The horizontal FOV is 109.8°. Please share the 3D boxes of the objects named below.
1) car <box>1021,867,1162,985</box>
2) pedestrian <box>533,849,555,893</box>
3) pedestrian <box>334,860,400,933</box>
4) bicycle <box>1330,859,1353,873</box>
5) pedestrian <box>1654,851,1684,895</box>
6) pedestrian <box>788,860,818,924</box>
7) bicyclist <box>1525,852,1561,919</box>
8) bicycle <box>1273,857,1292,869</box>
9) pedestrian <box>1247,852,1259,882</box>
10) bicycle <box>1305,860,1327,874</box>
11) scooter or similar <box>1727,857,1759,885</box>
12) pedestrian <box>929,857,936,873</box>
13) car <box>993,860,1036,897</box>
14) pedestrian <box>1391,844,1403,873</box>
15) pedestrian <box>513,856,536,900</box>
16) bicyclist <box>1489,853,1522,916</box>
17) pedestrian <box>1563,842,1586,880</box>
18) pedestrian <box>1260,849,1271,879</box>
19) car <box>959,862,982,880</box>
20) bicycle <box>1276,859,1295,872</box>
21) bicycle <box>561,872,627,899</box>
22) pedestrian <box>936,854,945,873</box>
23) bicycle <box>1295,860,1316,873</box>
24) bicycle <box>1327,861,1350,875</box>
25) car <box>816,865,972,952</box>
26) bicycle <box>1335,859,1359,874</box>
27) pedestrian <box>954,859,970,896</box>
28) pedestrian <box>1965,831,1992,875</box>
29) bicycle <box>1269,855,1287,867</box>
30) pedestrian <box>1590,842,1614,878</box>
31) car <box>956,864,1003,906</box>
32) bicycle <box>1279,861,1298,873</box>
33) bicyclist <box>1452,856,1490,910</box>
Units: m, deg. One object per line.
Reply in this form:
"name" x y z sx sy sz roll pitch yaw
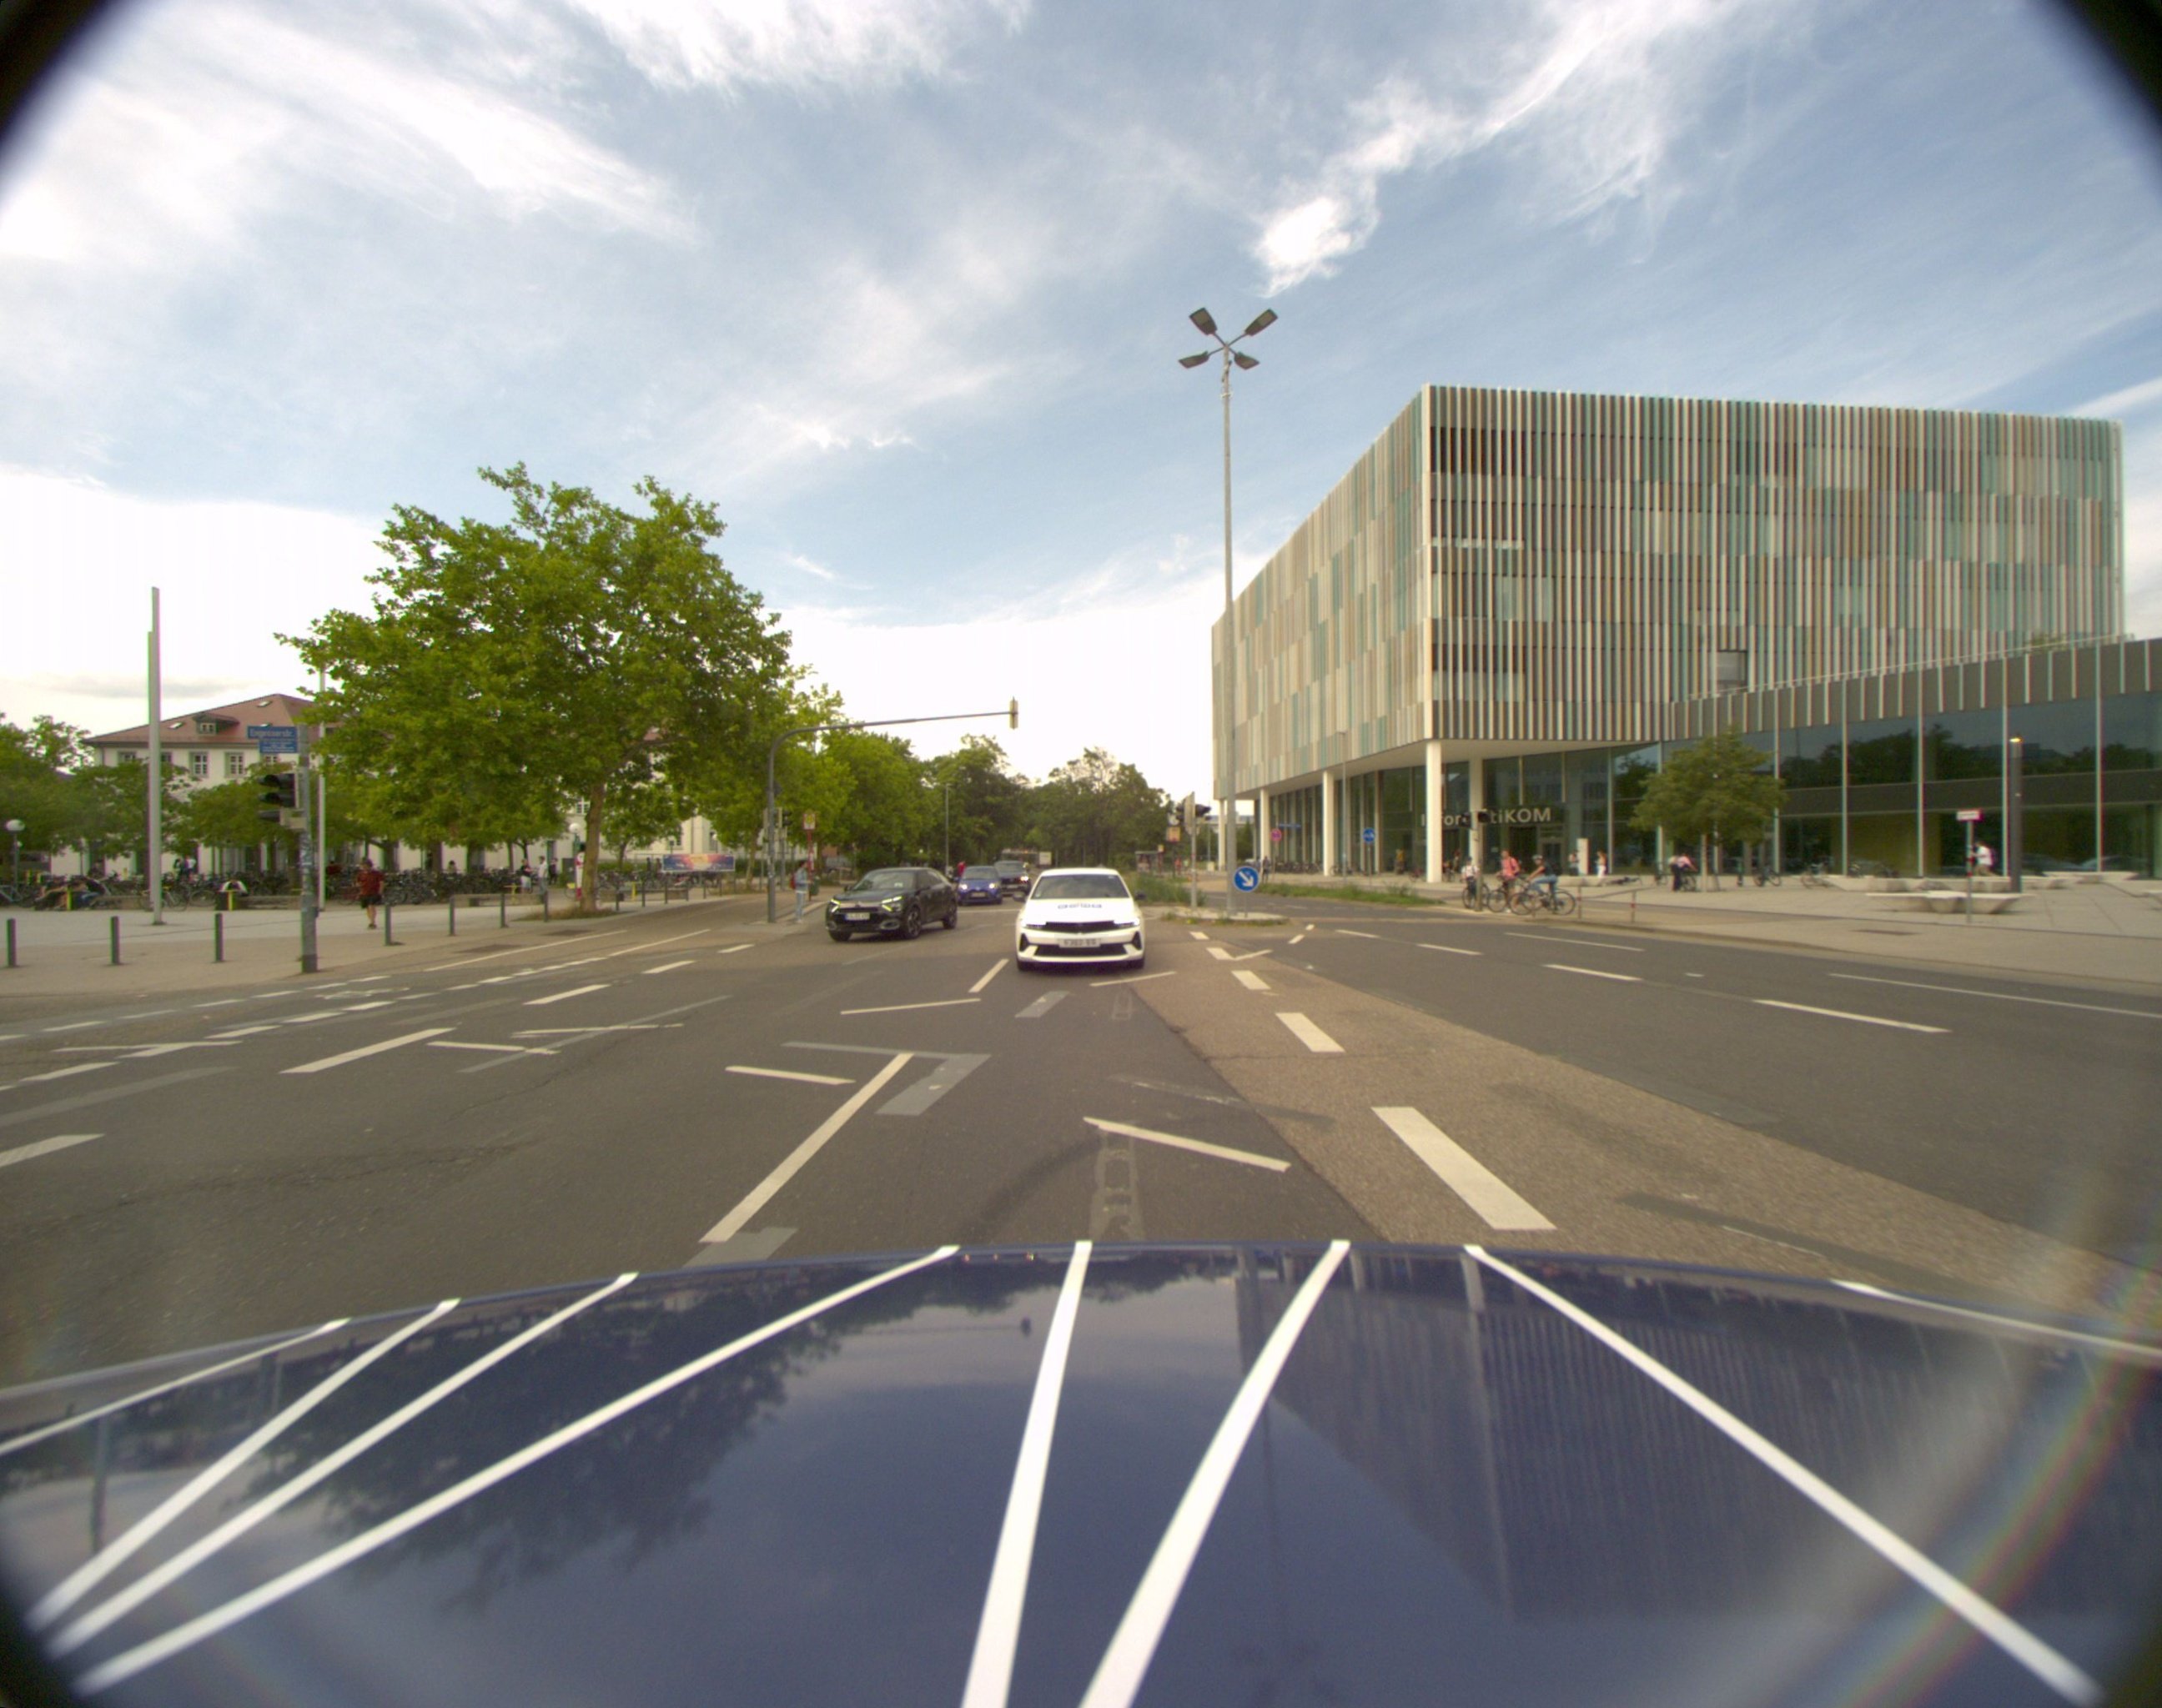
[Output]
"car" -0.044 0.970 12.222 1.745 1.430 4.780 -1 0 -5
"pedestrian" -24.435 0.754 34.565 0.687 1.951 0.601 -3 1 -44
"pedestrian" -18.379 1.072 19.583 0.769 1.794 0.891 -2 1 0
"bicycle" 18.758 0.854 54.778 1.546 0.932 0.394 -3 1 -10
"pedestrian" 21.377 0.697 27.635 0.652 1.571 0.574 -1 0 0
"pedestrian" -7.976 1.069 21.802 0.574 1.806 0.681 -1 1 -2
"bicyclist" 12.872 0.866 21.179 0.602 1.796 0.561 -3 1 -19
"bicycle" 17.886 0.818 67.598 1.582 1.017 0.389 -3 1 -10
"pedestrian" 10.708 0.830 47.286 0.512 1.826 0.772 -1 0 -5
"bicycle" 18.641 1.016 60.254 1.582 1.017 0.389 -3 1 -10
"scooter or similar" 29.202 0.741 33.493 2.129 1.191 0.594 -1 0 -36
"pedestrian" -15.109 1.130 77.344 0.646 1.556 0.804 -1 0 -6
"car" -3.158 1.132 36.757 1.905 1.639 4.643 -1 0 -4
"pedestrian" 22.541 0.326 54.191 0.512 2.031 0.624 -1 0 -6
"pedestrian" -24.949 1.068 34.058 0.687 1.951 0.601 -3 1 -44
"bicyclist" 12.614 0.894 22.585 0.602 1.796 0.561 -3 1 -19
"pedestrian" 22.335 0.308 34.405 0.732 1.730 0.677 -1 1 -39
"pedestrian" 11.543 0.628 47.524 0.512 1.826 0.624 -1 0 -5
"car" -9.086 1.383 62.701 1.704 1.361 3.830 -1 0 -5
"bicycle" 18.070 1.001 67.045 1.582 1.017 0.389 -3 1 -10
"bicycle" -22.058 1.405 34.429 2.473 1.136 0.717 -1 0 -4
"pedestrian" -14.342 0.931 77.438 0.798 1.922 0.759 -1 0 -5
"bicycle" 18.397 0.998 62.161 1.582 1.017 0.389 -3 1 -10
"bicycle" 18.789 1.026 55.463 1.546 0.932 0.389 -3 1 -10
"car" -4.027 1.116 17.189 1.803 1.547 4.179 -4 0 10
"bicycle" 18.880 0.875 53.909 1.546 0.989 0.399 -3 1 -9
"pedestrian" -6.030 1.189 38.479 0.727 1.843 1.064 -1 0 -7
"pedestrian" 36.675 -0.029 31.063 0.635 1.768 0.598 0 1 40
"bicycle" 17.655 0.660 68.074 1.582 1.017 0.389 1 1 -10
"pedestrian" 23.185 0.276 33.817 0.731 1.591 0.677 -1 1 -36
"car" -3.991 1.185 30.376 1.704 1.485 3.830 -1 0 -5
"bicycle" 17.786 1.108 65.149 1.582 1.017 0.389 -3 1 -10
"bicyclist" 12.487 0.919 24.344 0.729 1.663 0.722 -3 1 -19
